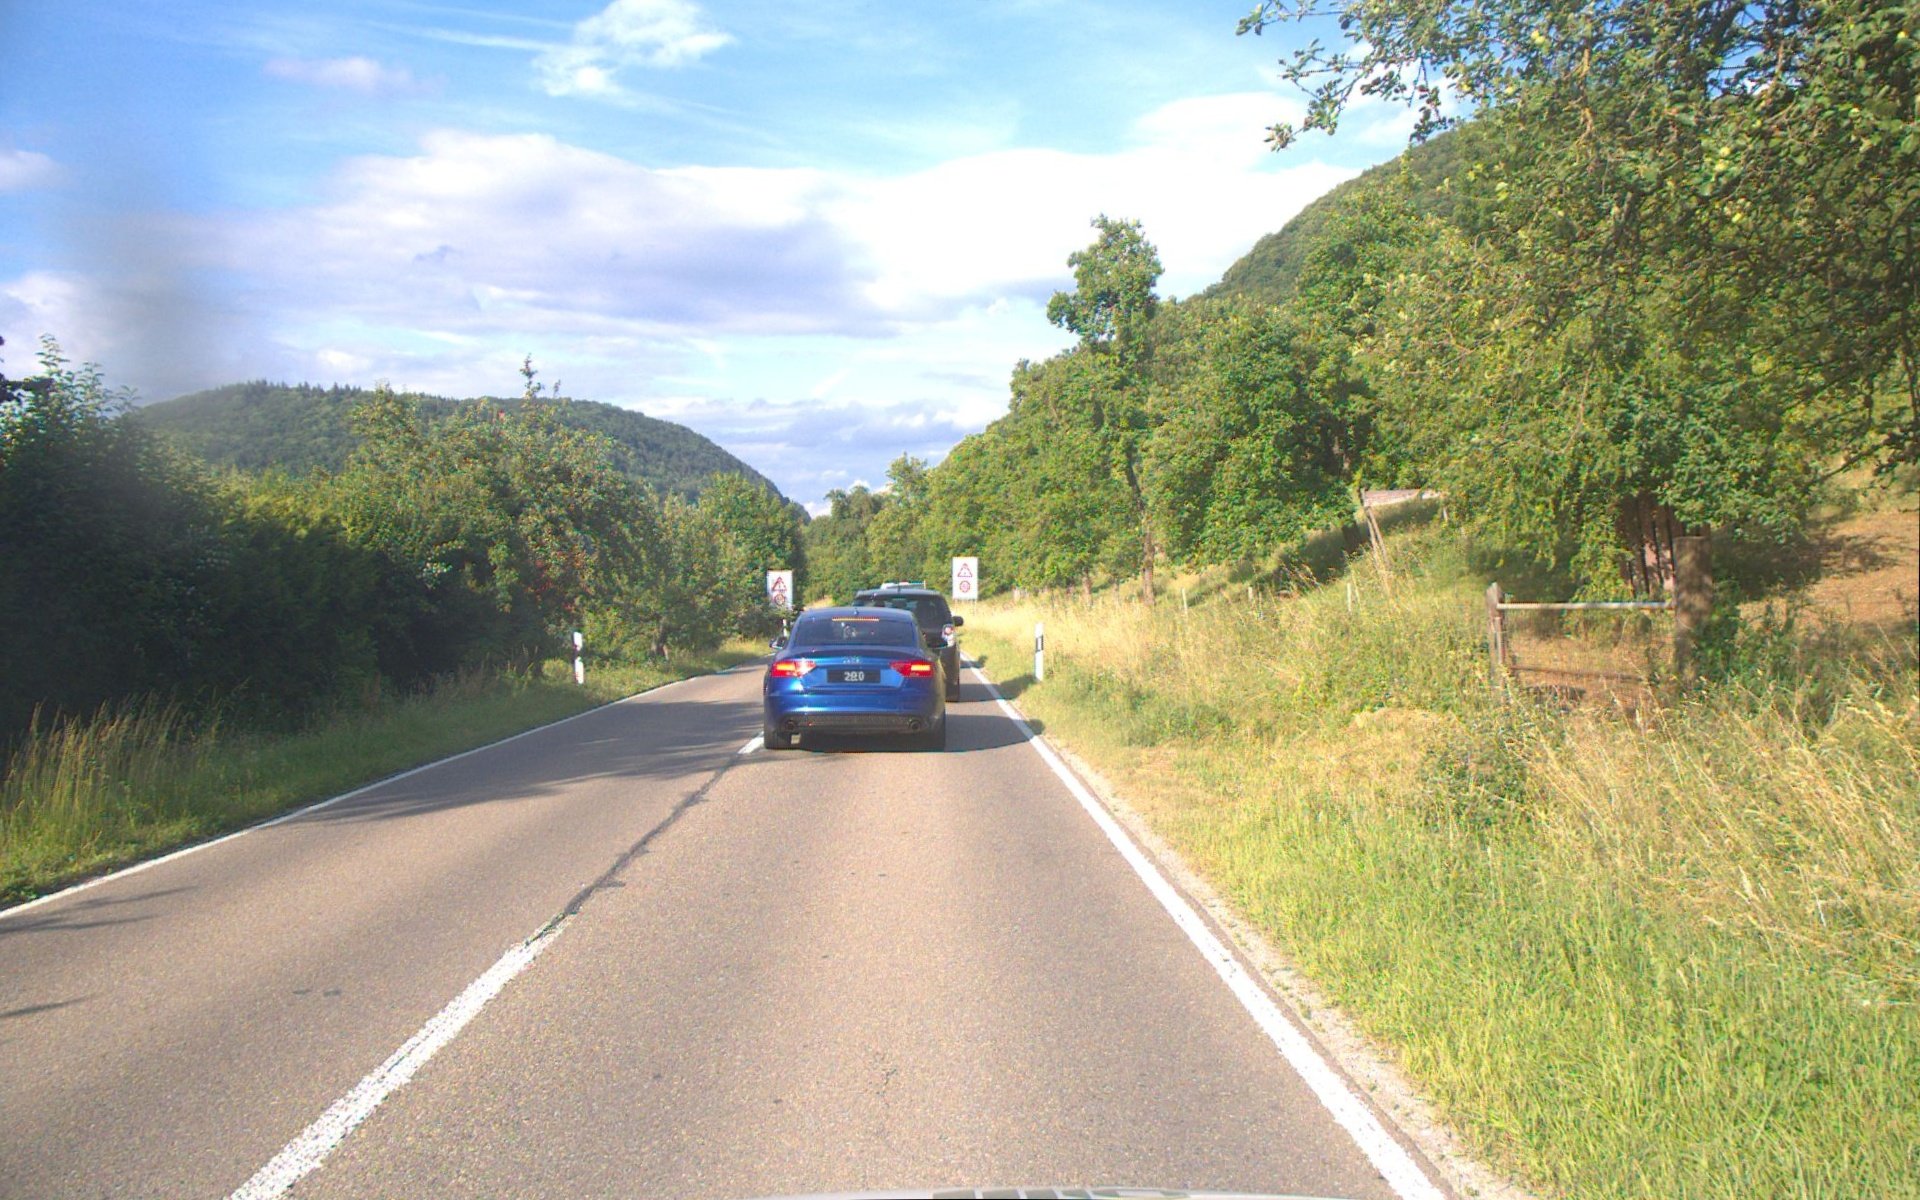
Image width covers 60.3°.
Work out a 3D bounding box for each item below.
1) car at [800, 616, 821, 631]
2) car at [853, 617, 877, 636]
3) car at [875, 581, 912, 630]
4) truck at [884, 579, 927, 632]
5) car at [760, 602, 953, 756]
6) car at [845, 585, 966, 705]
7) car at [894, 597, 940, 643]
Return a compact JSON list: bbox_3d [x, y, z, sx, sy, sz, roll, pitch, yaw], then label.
[{"bbox_3d":[-15.148,2.384,167.794,1.532,1.522,3.764,1,0,-14],"label":"car"},{"bbox_3d":[-7.951,2.183,137.906,1.530,1.522,3.769,1,0,-10],"label":"car"},{"bbox_3d":[-3.594,0.289,88.528,1.757,2.496,3.915,1,0,-5],"label":"car"},{"bbox_3d":[-2.601,0.266,78.099,1.911,2.386,5.091,1,0,-3],"label":"truck"},{"bbox_3d":[-1.015,0.749,17.409,1.769,1.406,4.213,0,0,-2],"label":"car"},{"bbox_3d":[-0.813,0.615,24.674,1.659,1.652,3.787,0,0,-2],"label":"car"},{"bbox_3d":[-1.605,0.719,61.433,1.659,1.652,3.787,0,0,-2],"label":"car"}]
